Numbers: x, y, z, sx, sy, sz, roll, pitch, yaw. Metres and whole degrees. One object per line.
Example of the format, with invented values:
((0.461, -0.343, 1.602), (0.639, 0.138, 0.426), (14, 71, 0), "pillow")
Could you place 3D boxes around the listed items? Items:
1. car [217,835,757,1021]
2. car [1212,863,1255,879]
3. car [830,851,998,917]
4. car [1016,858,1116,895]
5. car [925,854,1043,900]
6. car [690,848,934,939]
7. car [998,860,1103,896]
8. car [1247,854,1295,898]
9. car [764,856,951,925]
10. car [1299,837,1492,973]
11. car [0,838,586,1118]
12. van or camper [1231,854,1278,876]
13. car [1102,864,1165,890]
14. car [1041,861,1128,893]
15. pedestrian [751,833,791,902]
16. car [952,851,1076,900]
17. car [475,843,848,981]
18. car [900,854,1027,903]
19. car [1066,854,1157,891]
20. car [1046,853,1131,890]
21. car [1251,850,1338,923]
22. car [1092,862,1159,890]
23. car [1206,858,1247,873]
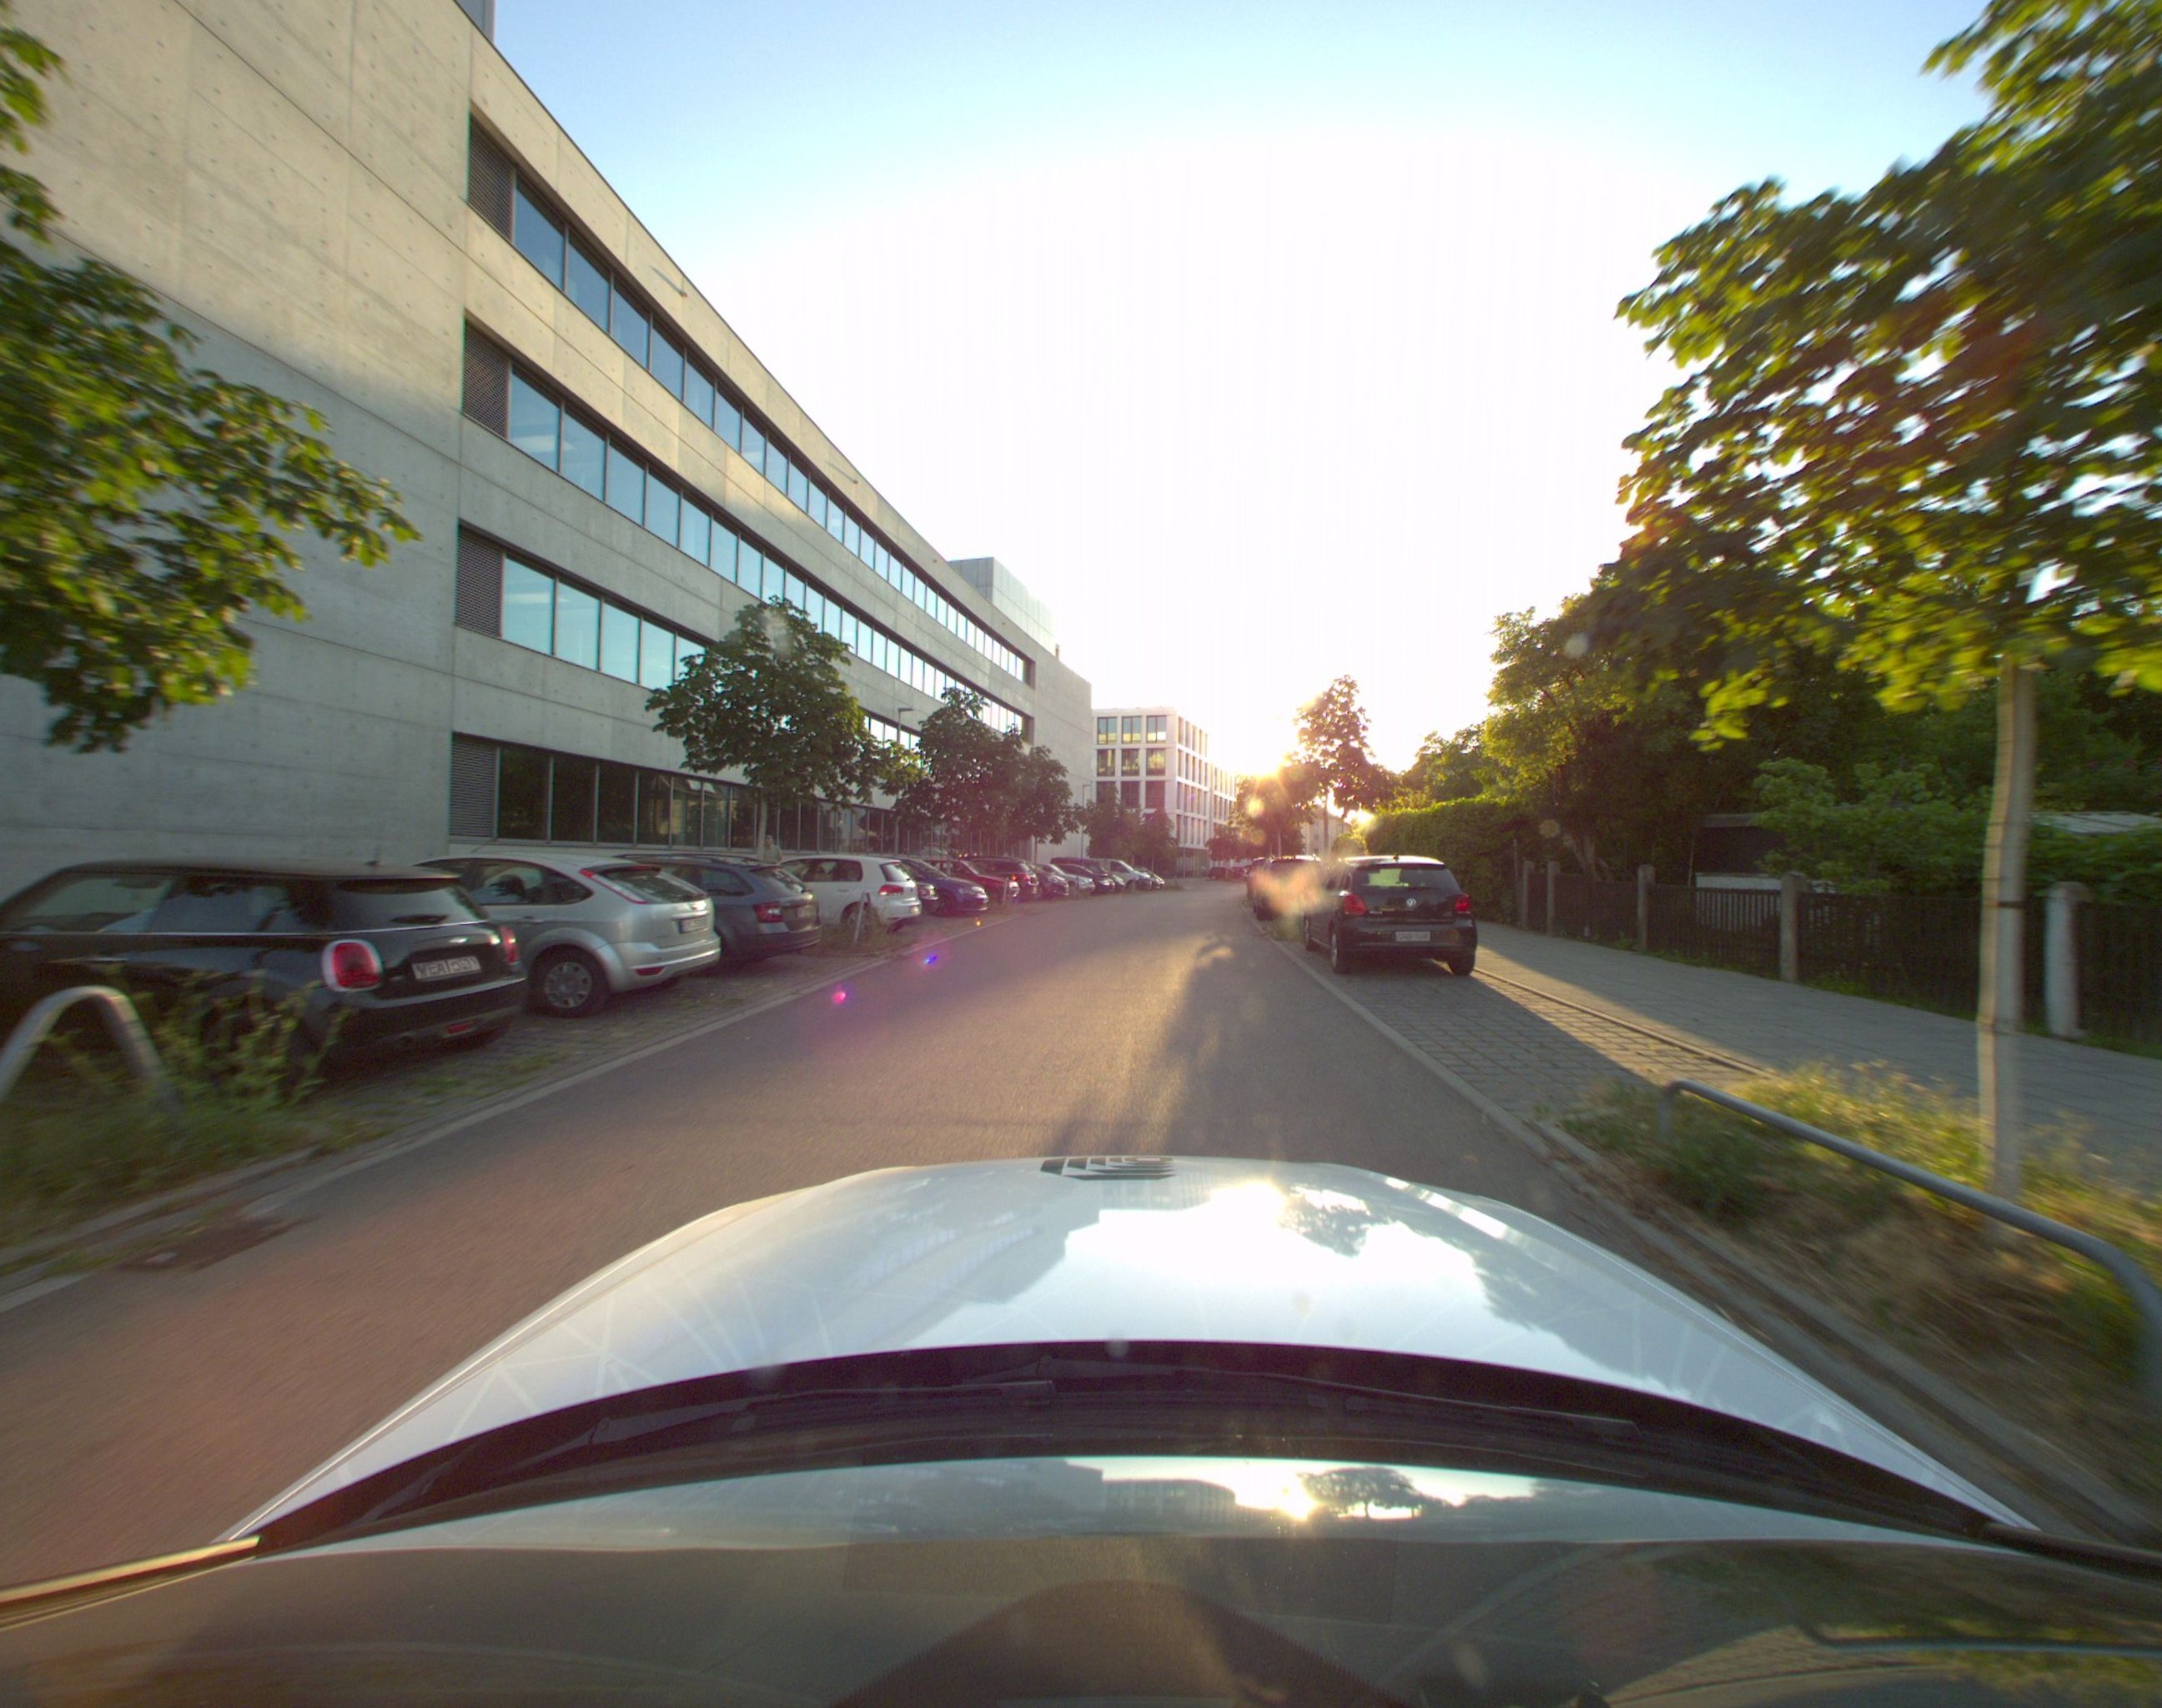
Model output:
((-5.753, 0.670, 8.291), (4.071, 1.528, 1.847), (2, 0, 1), "car")
((15.703, 1.763, 83.923), (4.017, 1.479, 1.776), (2, 1, 19), "car")
((-4.266, 0.733, 21.143), (3.848, 1.511, 1.764), (2, 0, 8), "car")
((-0.709, 1.067, 39.128), (4.363, 1.499, 1.771), (3, -1, 17), "car")
((-3.317, 0.785, 28.279), (3.679, 1.458, 1.684), (1, -1, 10), "car")
((-5.025, 0.702, 15.540), (3.967, 1.511, 1.763), (2, 0, 5), "car")
((-1.356, 1.043, 36.708), (4.402, 1.464, 1.769), (1, 0, 13), "car")
((6.945, 0.810, 29.774), (1.566, 1.510, 3.508), (-1, -1, 13), "car")
((-4.907, 0.773, 18.194), (3.618, 1.362, 1.687), (2, 0, 3), "car")
((4.106, 0.582, 11.225), (1.730, 1.552, 3.648), (0, 0, 8), "car")
((-5.817, 0.695, 5.571), (3.720, 1.482, 1.770), (2, 0, 2), "car")
((21.284, 1.345, 100.044), (5.405, 2.484, 1.785), (2, 0, 22), "van or camper")
((3.479, 1.504, 53.851), (3.857, 1.489, 1.658), (2, 0, 16), "car")
((0.188, 1.181, 42.037), (4.115, 1.404, 1.731), (3, -1, 14), "car")
((-8.254, 0.362, 21.707), (0.642, 1.784, 0.726), (2, -1, 8), "pedestrian")
((-2.489, 0.787, 30.914), (4.282, 1.696, 1.901), (1, -1, 10), "car")
((-5.283, 0.682, 10.594), (3.983, 1.512, 1.585), (2, 1, 1), "car")
((-3.743, 0.774, 26.266), (3.681, 1.458, 1.715), (1, -1, 8), "car")
((1.859, 1.104, 48.645), (5.039, 1.947, 1.896), (3, -1, 15), "car")
((0.405, 0.936, 43.959), (4.217, 1.742, 1.731), (3, -1, 14), "car")
((5.064, 0.702, 19.787), (1.700, 1.550, 4.561), (0, 0, 10), "car")
((2.832, 1.368, 51.647), (3.959, 1.522, 1.611), (3, -1, 14), "car")
((15.883, 1.222, 88.725), (4.015, 1.479, 1.777), (2, 0, 22), "car")
